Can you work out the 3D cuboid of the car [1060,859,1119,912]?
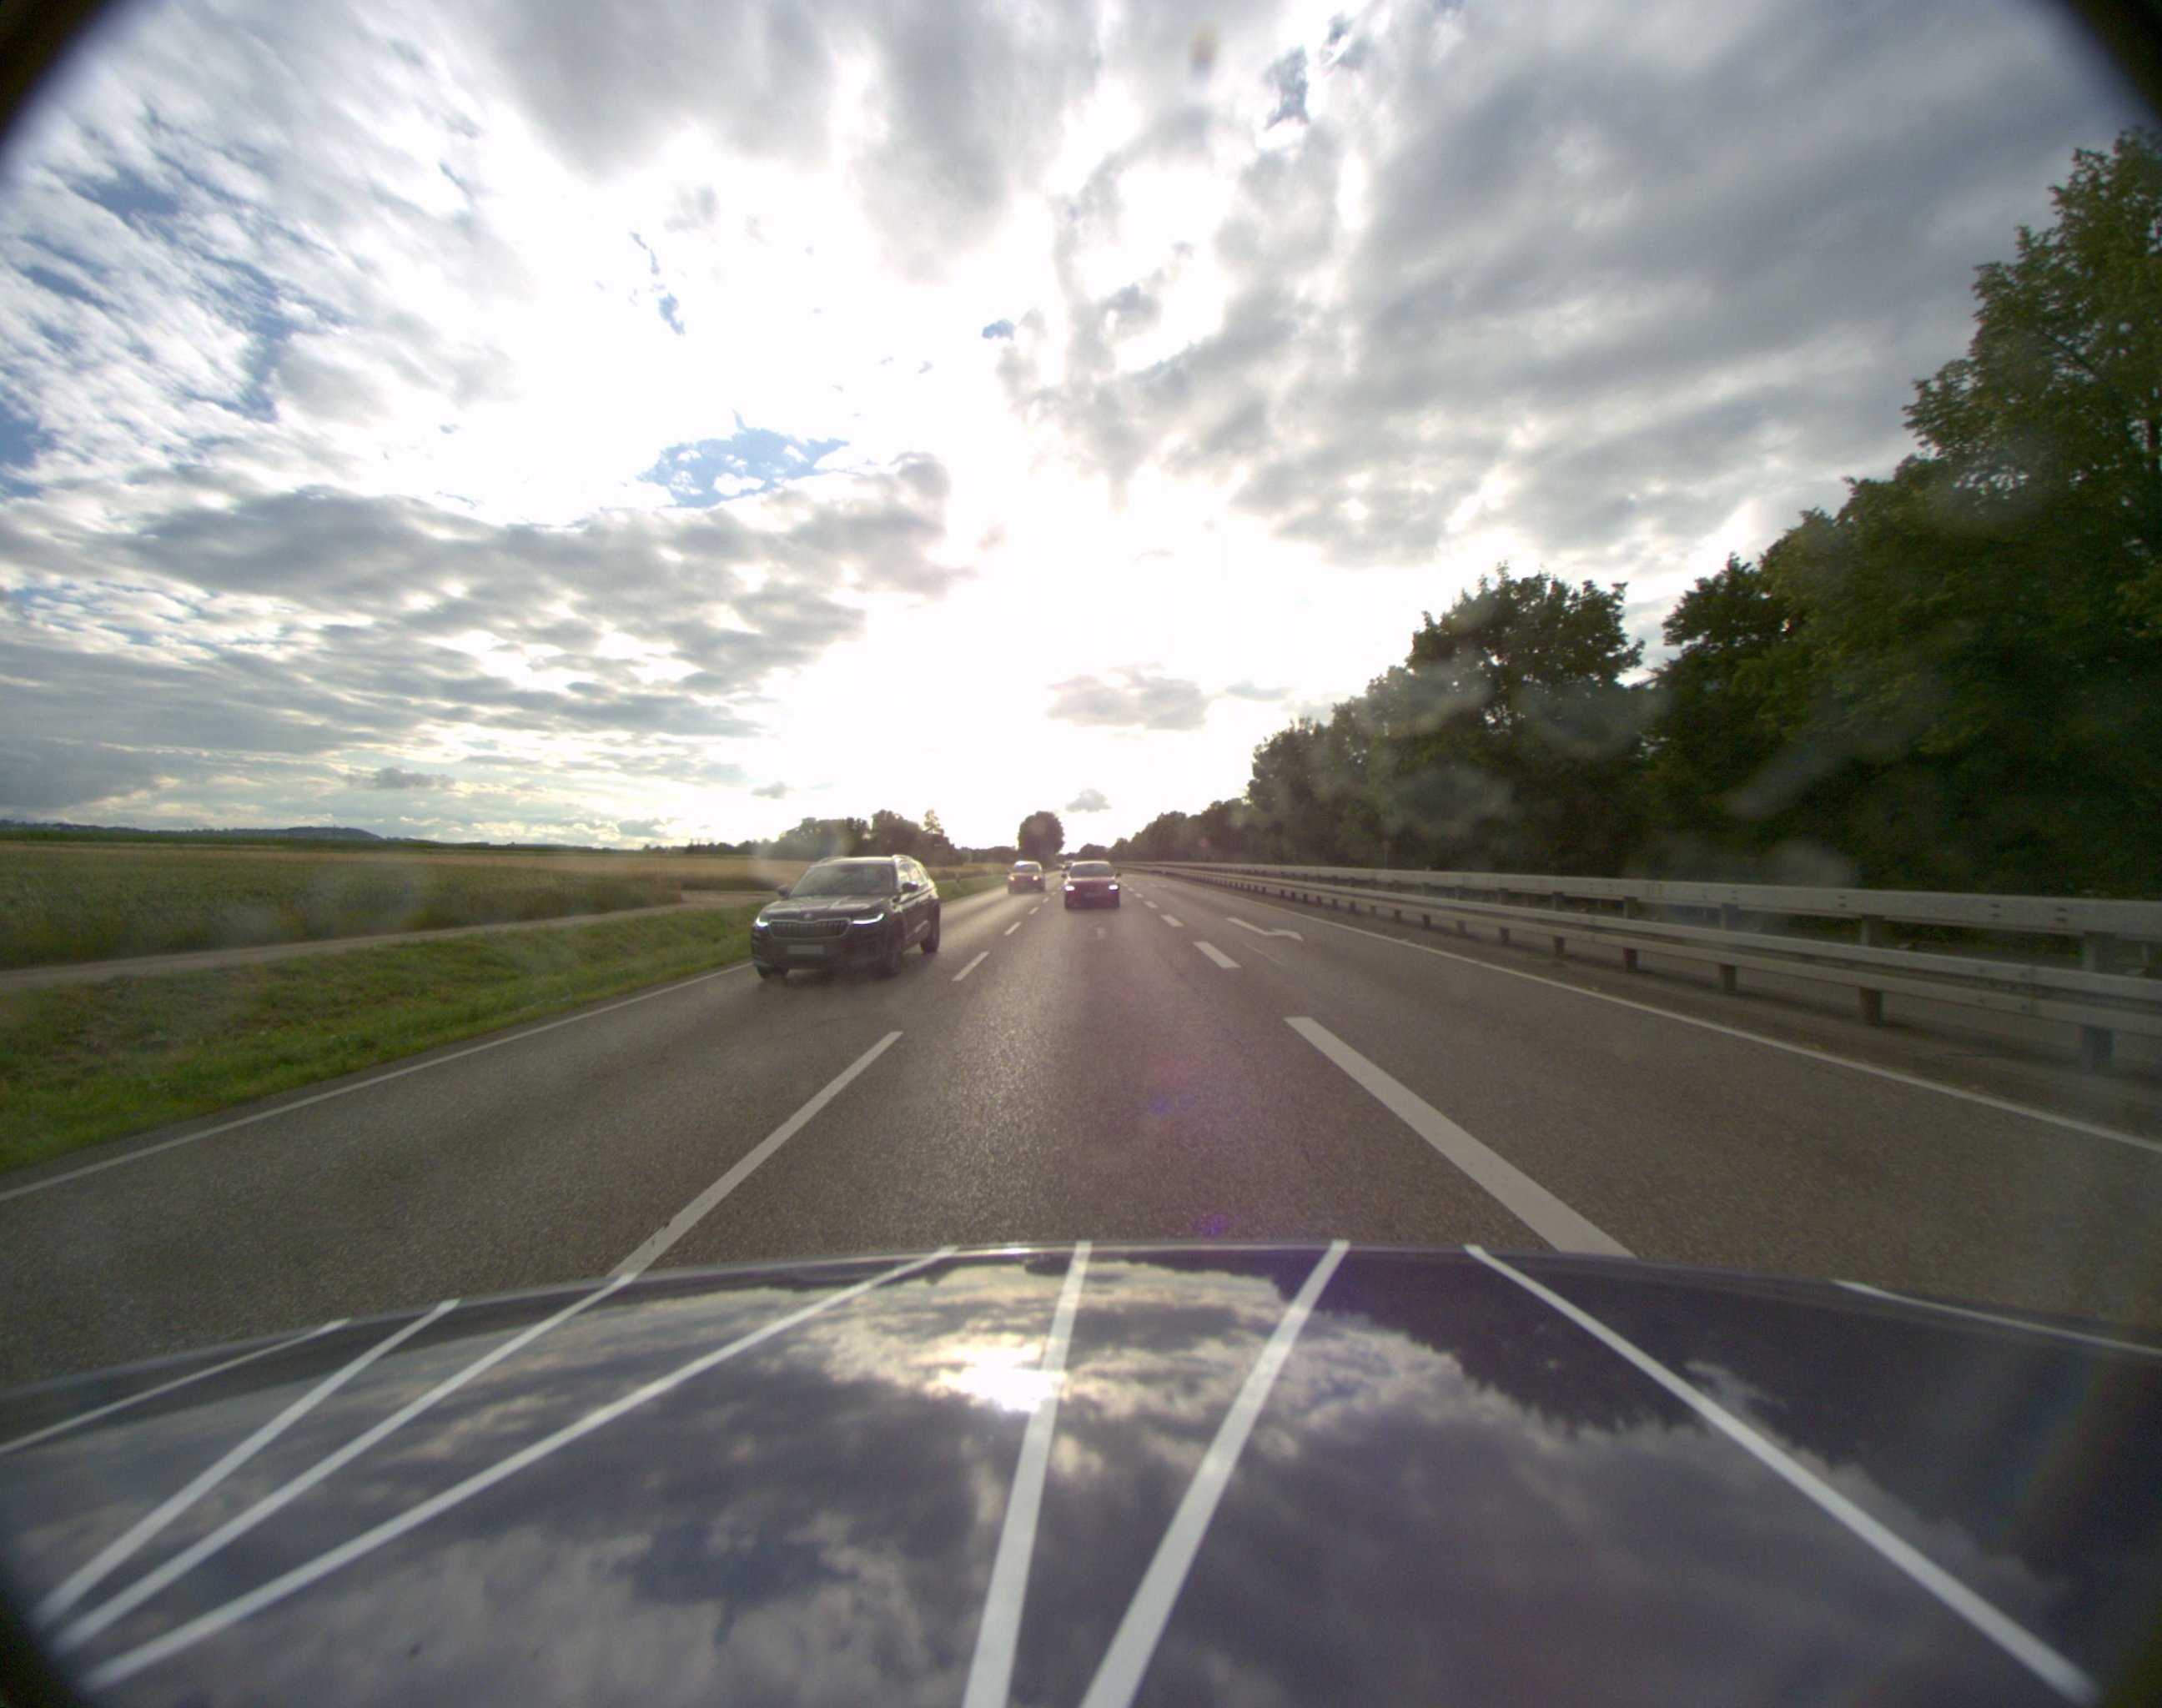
[{"bbox_3d":[0.285,0.938,24.689,1.712,1.448,4.061,-2,1,1],"label":"car"}]

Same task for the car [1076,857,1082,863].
[{"bbox_3d":[-0.523,1.720,234.839,1.671,1.730,4.032,-2,0,1],"label":"car"}]

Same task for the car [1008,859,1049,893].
[{"bbox_3d":[-2.583,1.066,38.106,1.712,1.448,3.908,-2,1,1],"label":"car"}]

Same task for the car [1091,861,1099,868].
[{"bbox_3d":[3.284,2.333,176.711,1.712,1.448,4.061,-2,1,1],"label":"car"}]

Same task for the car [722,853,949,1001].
[{"bbox_3d":[-3.399,0.898,11.569,1.841,1.698,4.556,-2,1,1],"label":"car"}]

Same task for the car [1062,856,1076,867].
[{"bbox_3d":[-1.705,1.092,111.324,1.799,1.448,4.032,-2,0,1],"label":"car"}]
